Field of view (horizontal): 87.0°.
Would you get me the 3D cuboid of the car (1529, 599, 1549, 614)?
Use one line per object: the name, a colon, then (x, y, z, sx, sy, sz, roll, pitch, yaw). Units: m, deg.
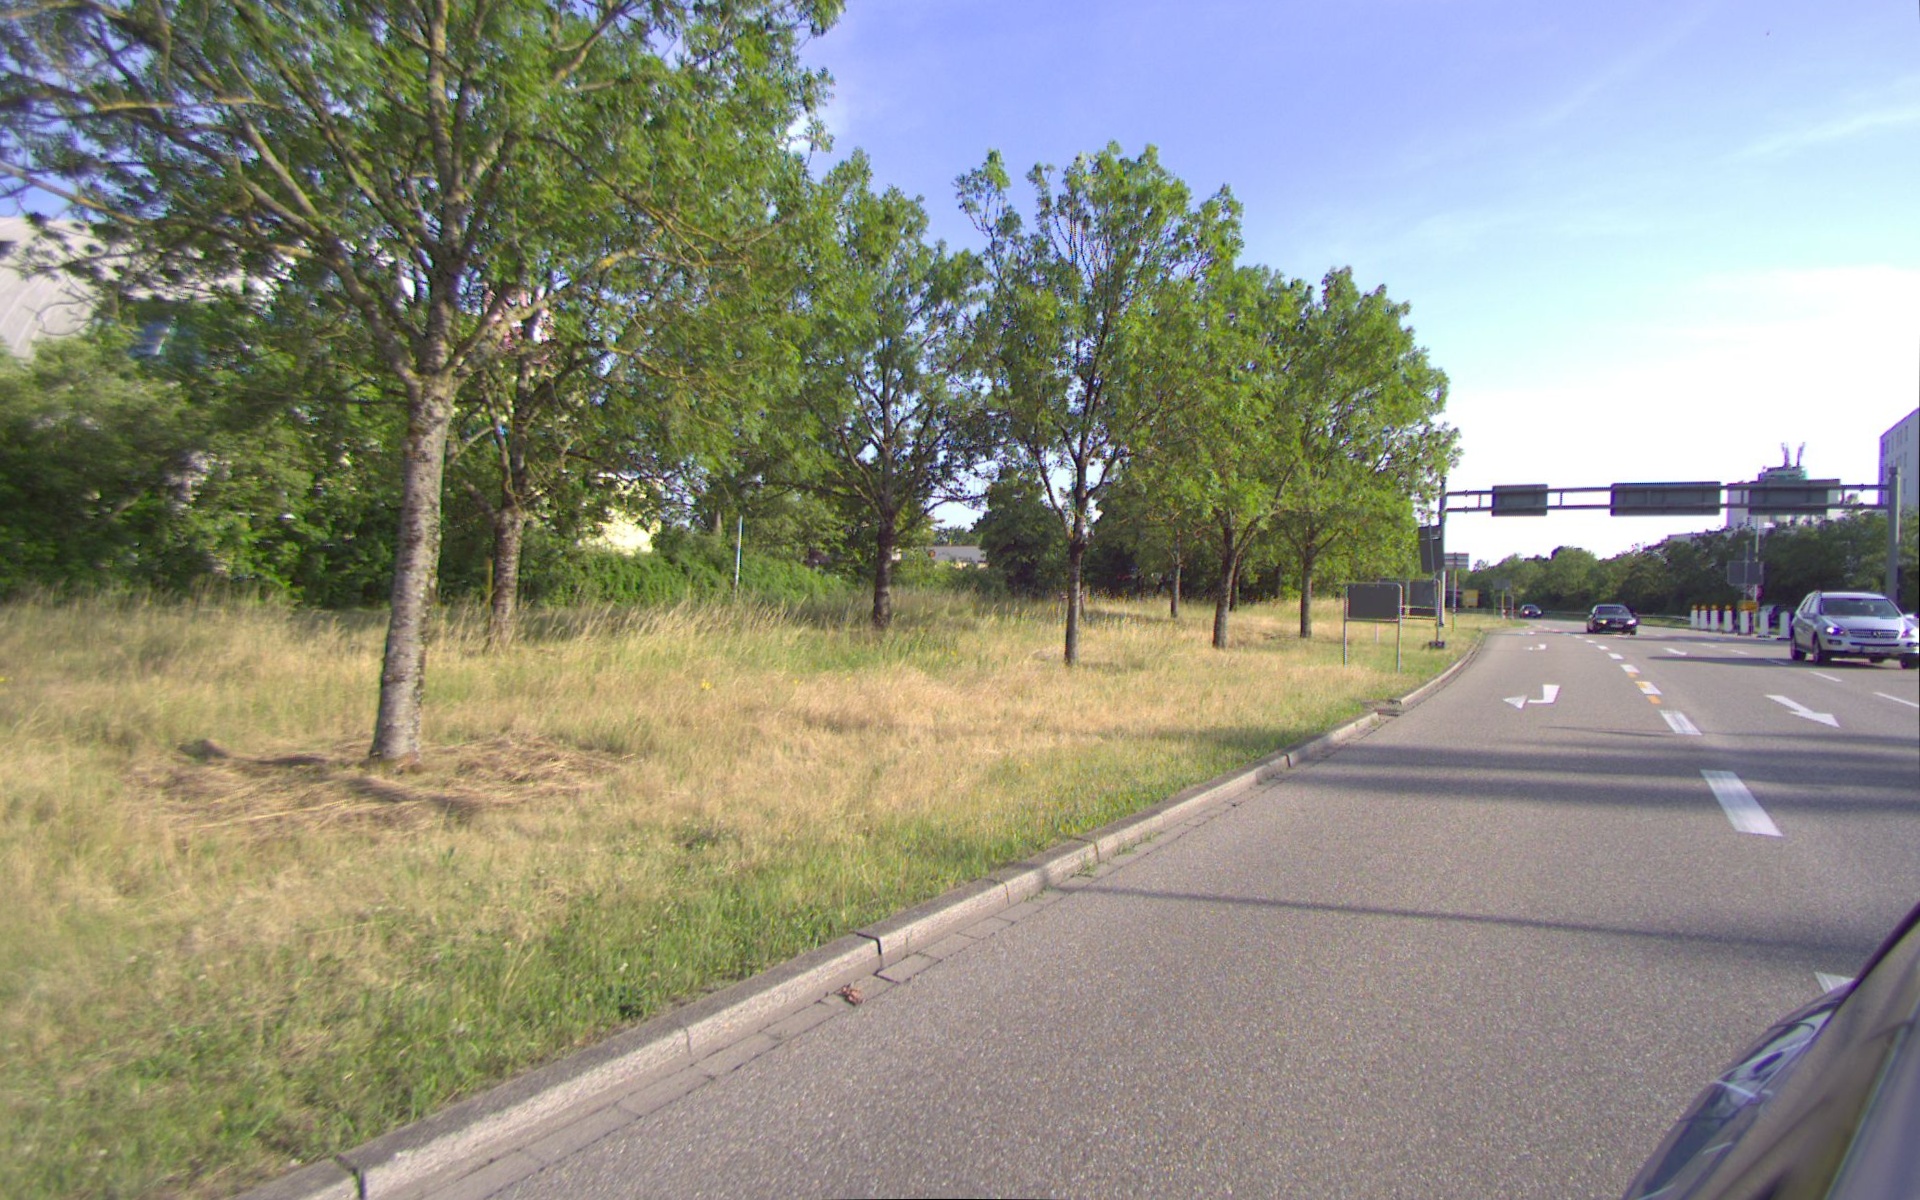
car: (64.260, 0.695, 112.298, 1.880, 1.474, 3.868, 2, 2, 30)

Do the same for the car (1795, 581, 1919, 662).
car: (22.382, 0.485, 25.101, 1.887, 1.847, 4.309, 0, 0, 30)

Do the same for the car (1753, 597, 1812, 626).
car: (62.988, 0.826, 77.620, 1.977, 2.039, 5.317, 2, 1, 22)

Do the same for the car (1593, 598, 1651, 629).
car: (32.103, 0.621, 49.159, 1.884, 1.403, 4.314, 0, 0, 27)
